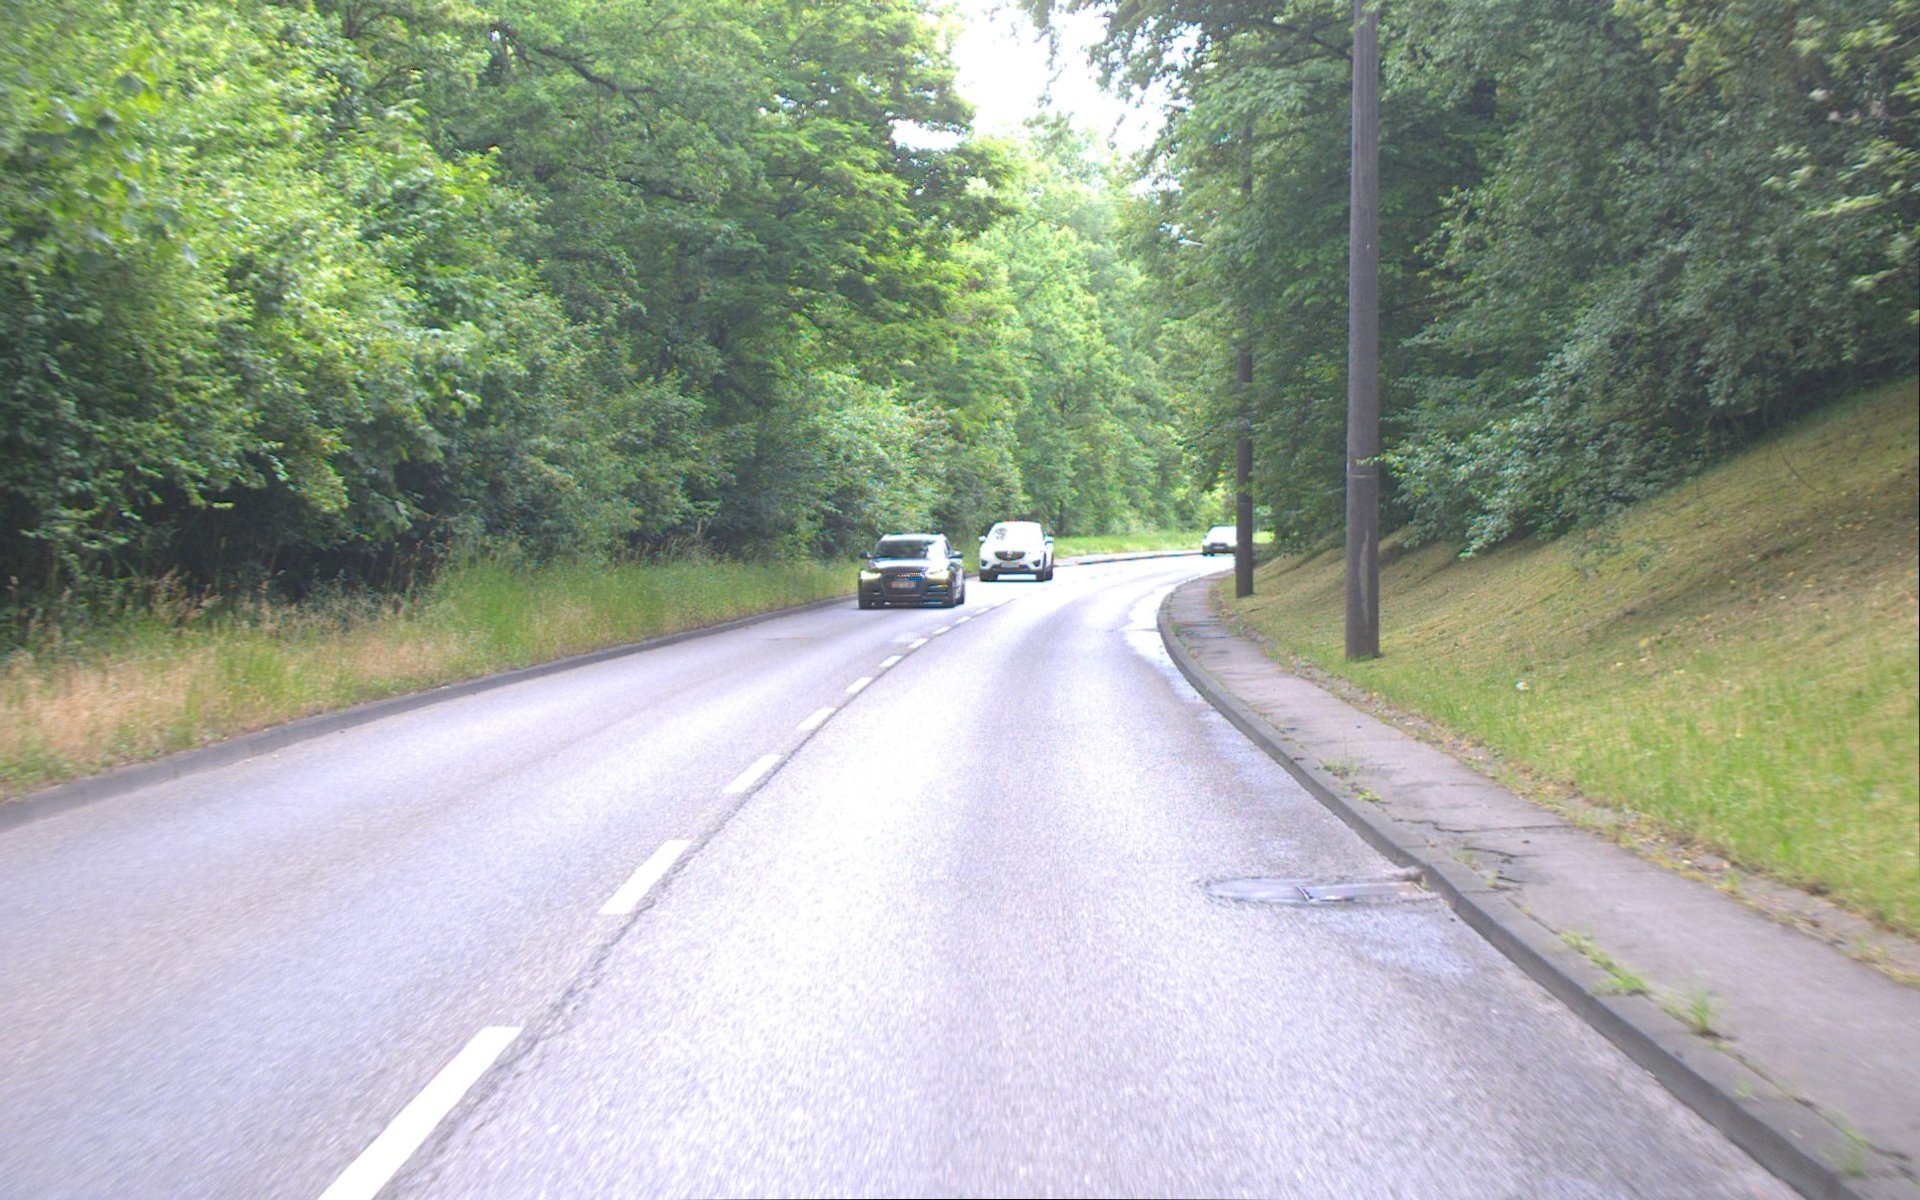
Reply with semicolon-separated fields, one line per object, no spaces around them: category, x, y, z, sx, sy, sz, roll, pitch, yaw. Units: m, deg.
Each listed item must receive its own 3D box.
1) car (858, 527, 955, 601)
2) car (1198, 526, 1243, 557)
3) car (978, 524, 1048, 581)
car;-1.023;-0.735;67.833;1.810;1.415;4.000;0;1;1
car;13.157;-2.955;173.984;1.993;1.537;4.000;0;1;1
car;1.486;-1.354;97.753;1.942;1.576;4.441;0;1;1
